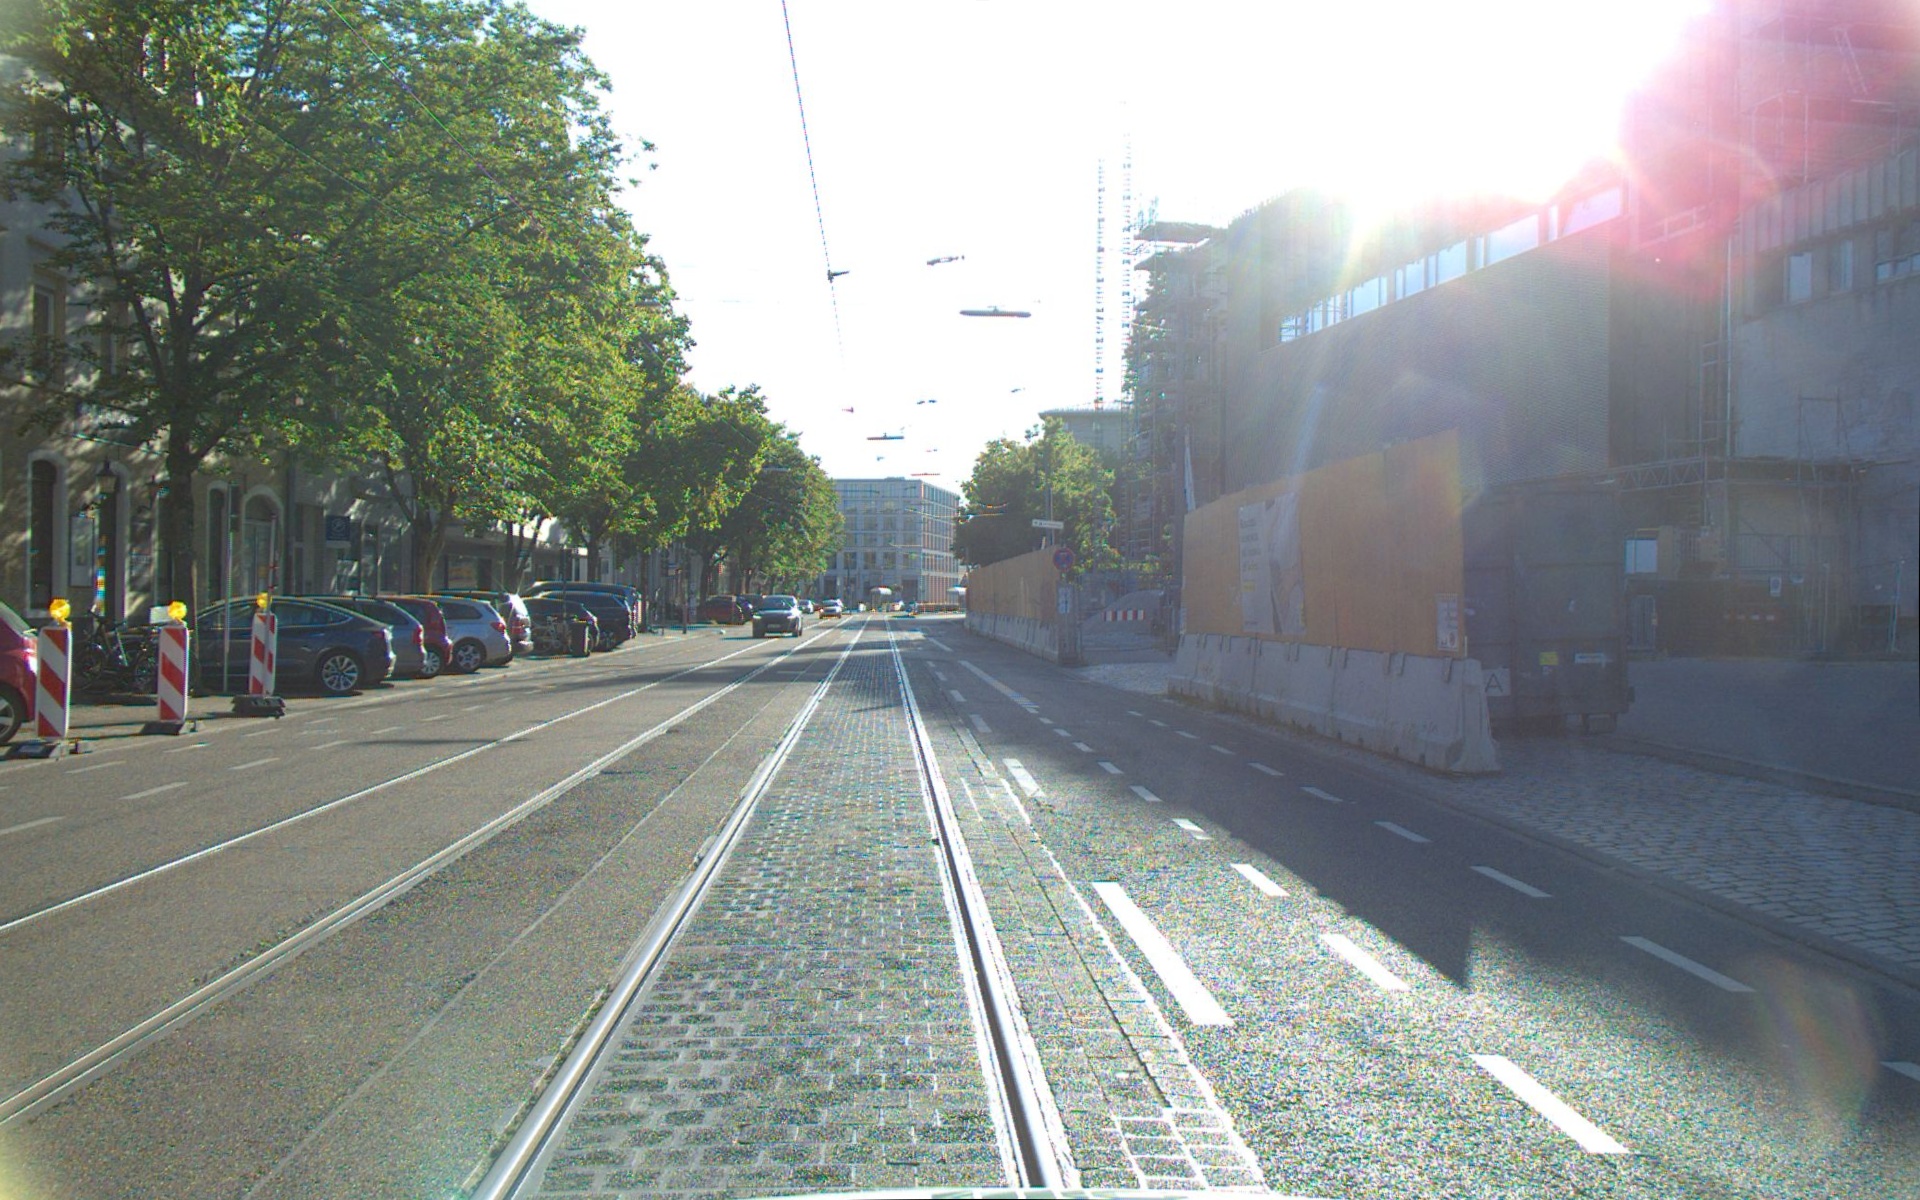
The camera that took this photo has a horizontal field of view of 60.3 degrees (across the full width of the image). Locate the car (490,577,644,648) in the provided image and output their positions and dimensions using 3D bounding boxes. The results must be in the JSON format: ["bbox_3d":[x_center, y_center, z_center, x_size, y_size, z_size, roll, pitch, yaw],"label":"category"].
[{"bbox_3d":[-12.122,0.378,50.994,4.298,2.021,1.934,2,-1,-25],"label":"car"}]

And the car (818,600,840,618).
[{"bbox_3d":[-10.570,0.707,133.057,1.676,1.461,4.166,0,0,-5],"label":"car"}]

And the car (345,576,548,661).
[{"bbox_3d":[-11.610,0.409,37.630,4.024,1.707,1.839,3,0,-5],"label":"car"}]

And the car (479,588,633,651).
[{"bbox_3d":[-11.879,0.545,48.641,4.179,1.714,1.797,-1,0,-24],"label":"car"}]

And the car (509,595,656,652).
[{"bbox_3d":[-10.550,0.622,46.137,3.800,1.502,1.832,-1,0,-21],"label":"car"}]

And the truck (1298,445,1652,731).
[{"bbox_3d":[6.122,-0.140,20.586,2.469,2.959,5.505,-3,0,-1],"label":"truck"}]

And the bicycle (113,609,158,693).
[{"bbox_3d":[-11.353,0.684,22.797,0.327,1.115,1.585,-1,0,-18],"label":"bicycle"}]

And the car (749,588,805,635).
[{"bbox_3d":[-7.370,0.436,66.967,1.889,1.657,4.247,-3,1,-2],"label":"car"}]

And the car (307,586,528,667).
[{"bbox_3d":[-11.208,0.549,34.186,4.059,1.539,1.823,2,0,-30],"label":"car"}]

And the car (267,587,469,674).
[{"bbox_3d":[-11.189,0.582,31.284,3.328,1.519,1.596,2,0,-31],"label":"car"}]

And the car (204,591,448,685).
[{"bbox_3d":[-10.880,0.665,28.426,3.636,1.496,1.734,2,-1,-32],"label":"car"}]

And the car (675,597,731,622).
[{"bbox_3d":[-14.555,0.527,93.522,2.903,1.355,1.203,-1,0,-31],"label":"car"}]

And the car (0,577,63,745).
[{"bbox_3d":[-10.784,0.547,16.080,3.573,1.580,1.653,2,1,-29],"label":"car"}]

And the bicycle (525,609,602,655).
[{"bbox_3d":[-10.641,0.855,44.409,1.937,1.164,0.489,2,-1,-21],"label":"bicycle"}]

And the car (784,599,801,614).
[{"bbox_3d":[-17.672,0.655,174.310,1.541,1.516,3.998,0,0,-3],"label":"car"}]

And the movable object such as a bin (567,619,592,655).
[{"bbox_3d":[-10.089,0.980,43.852,0.566,0.929,0.572,2,1,-19],"label":"movable object such as a bin"}]

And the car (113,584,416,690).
[{"bbox_3d":[-10.852,0.581,25.848,4.144,1.517,1.924,2,0,-30],"label":"car"}]
